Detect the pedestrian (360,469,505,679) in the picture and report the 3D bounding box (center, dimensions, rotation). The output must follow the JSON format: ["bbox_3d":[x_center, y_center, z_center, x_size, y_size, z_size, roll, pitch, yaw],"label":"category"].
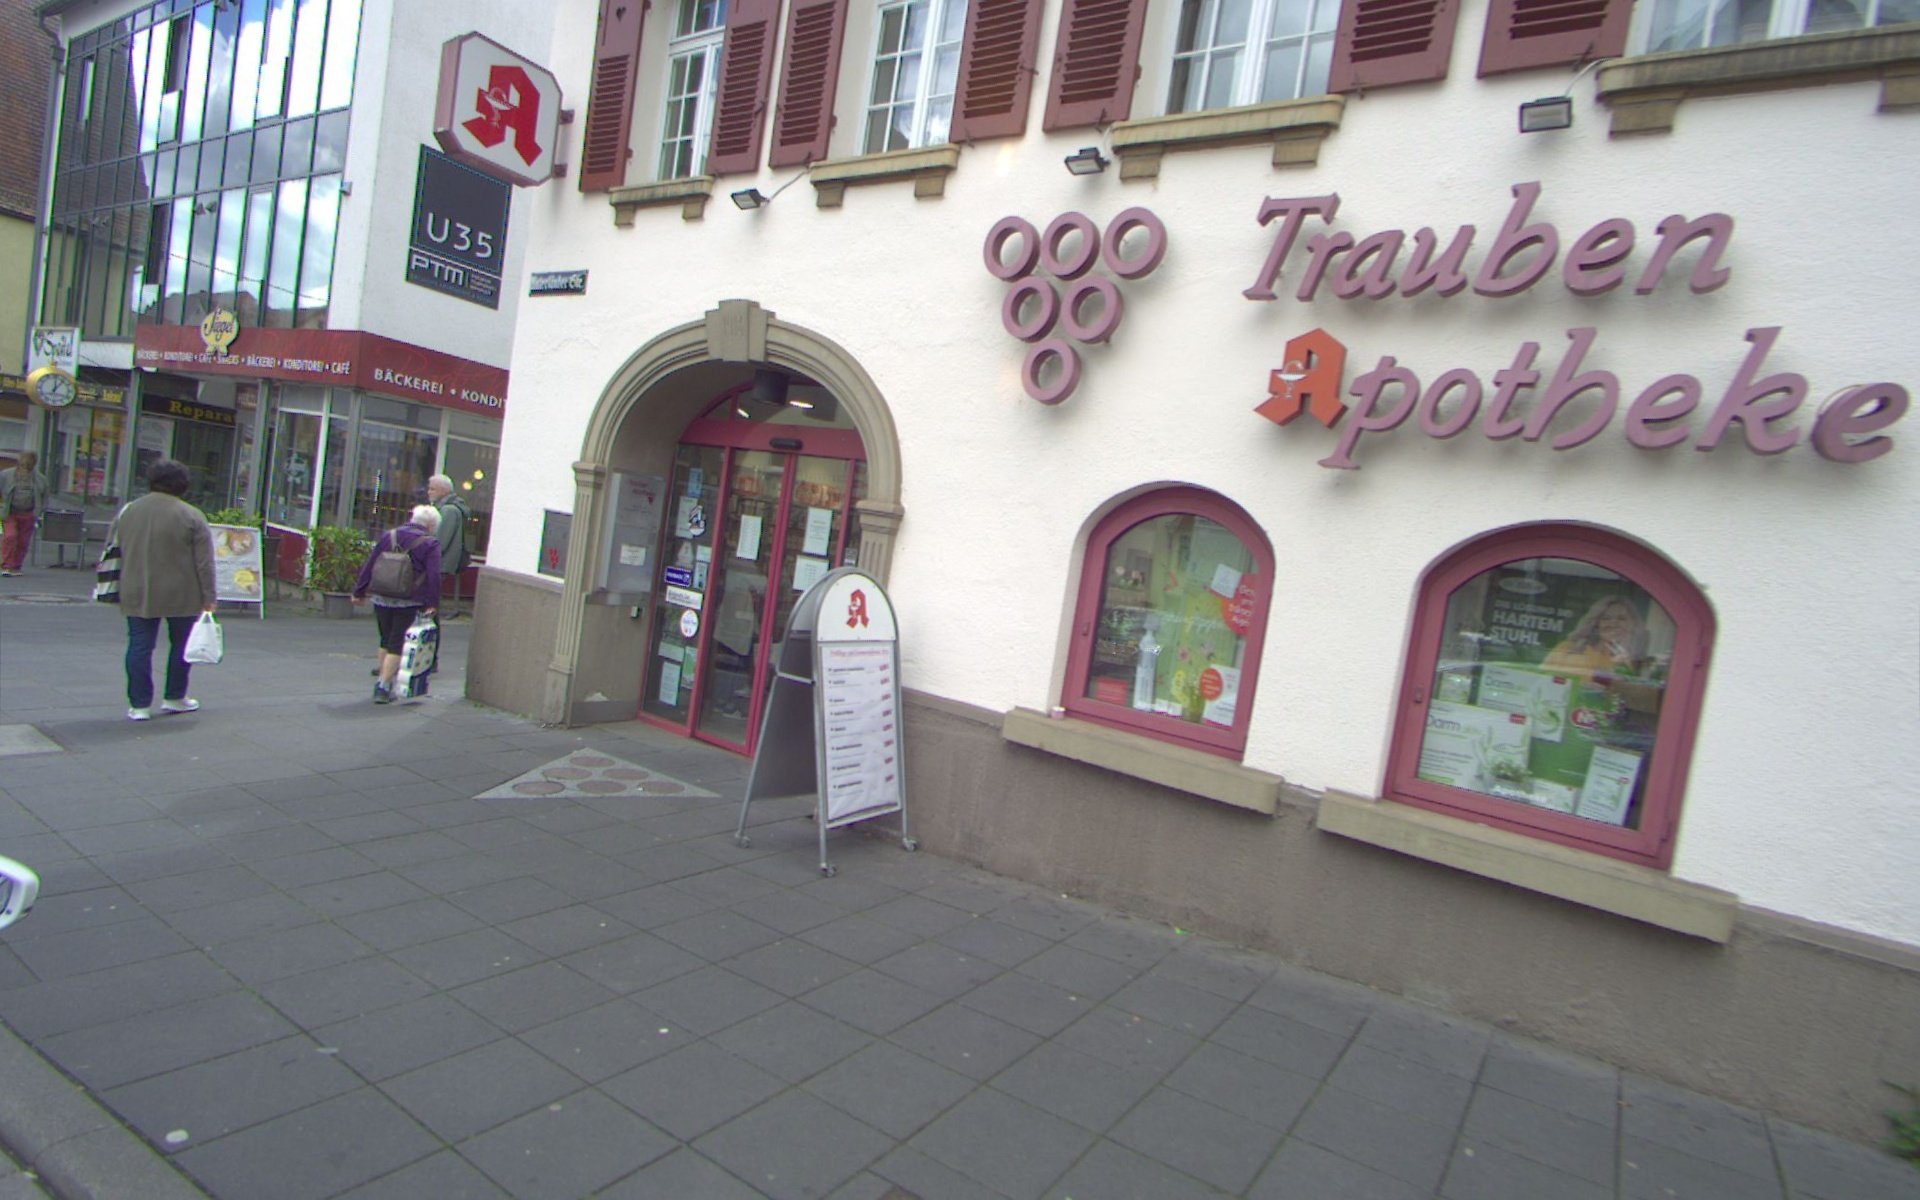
[{"bbox_3d":[-4.821,-0.228,9.201,0.805,1.792,0.774,8,3,36],"label":"pedestrian"}]

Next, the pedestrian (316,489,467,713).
[{"bbox_3d":[-4.279,-0.010,7.566,0.796,1.553,0.722,8,5,40],"label":"pedestrian"}]

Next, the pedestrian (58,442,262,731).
[{"bbox_3d":[-5.042,-0.090,6.336,0.857,1.667,0.771,8,3,40],"label":"pedestrian"}]

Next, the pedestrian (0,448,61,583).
[{"bbox_3d":[-12.869,-1.158,13.605,0.931,1.730,0.862,8,3,40],"label":"pedestrian"}]
